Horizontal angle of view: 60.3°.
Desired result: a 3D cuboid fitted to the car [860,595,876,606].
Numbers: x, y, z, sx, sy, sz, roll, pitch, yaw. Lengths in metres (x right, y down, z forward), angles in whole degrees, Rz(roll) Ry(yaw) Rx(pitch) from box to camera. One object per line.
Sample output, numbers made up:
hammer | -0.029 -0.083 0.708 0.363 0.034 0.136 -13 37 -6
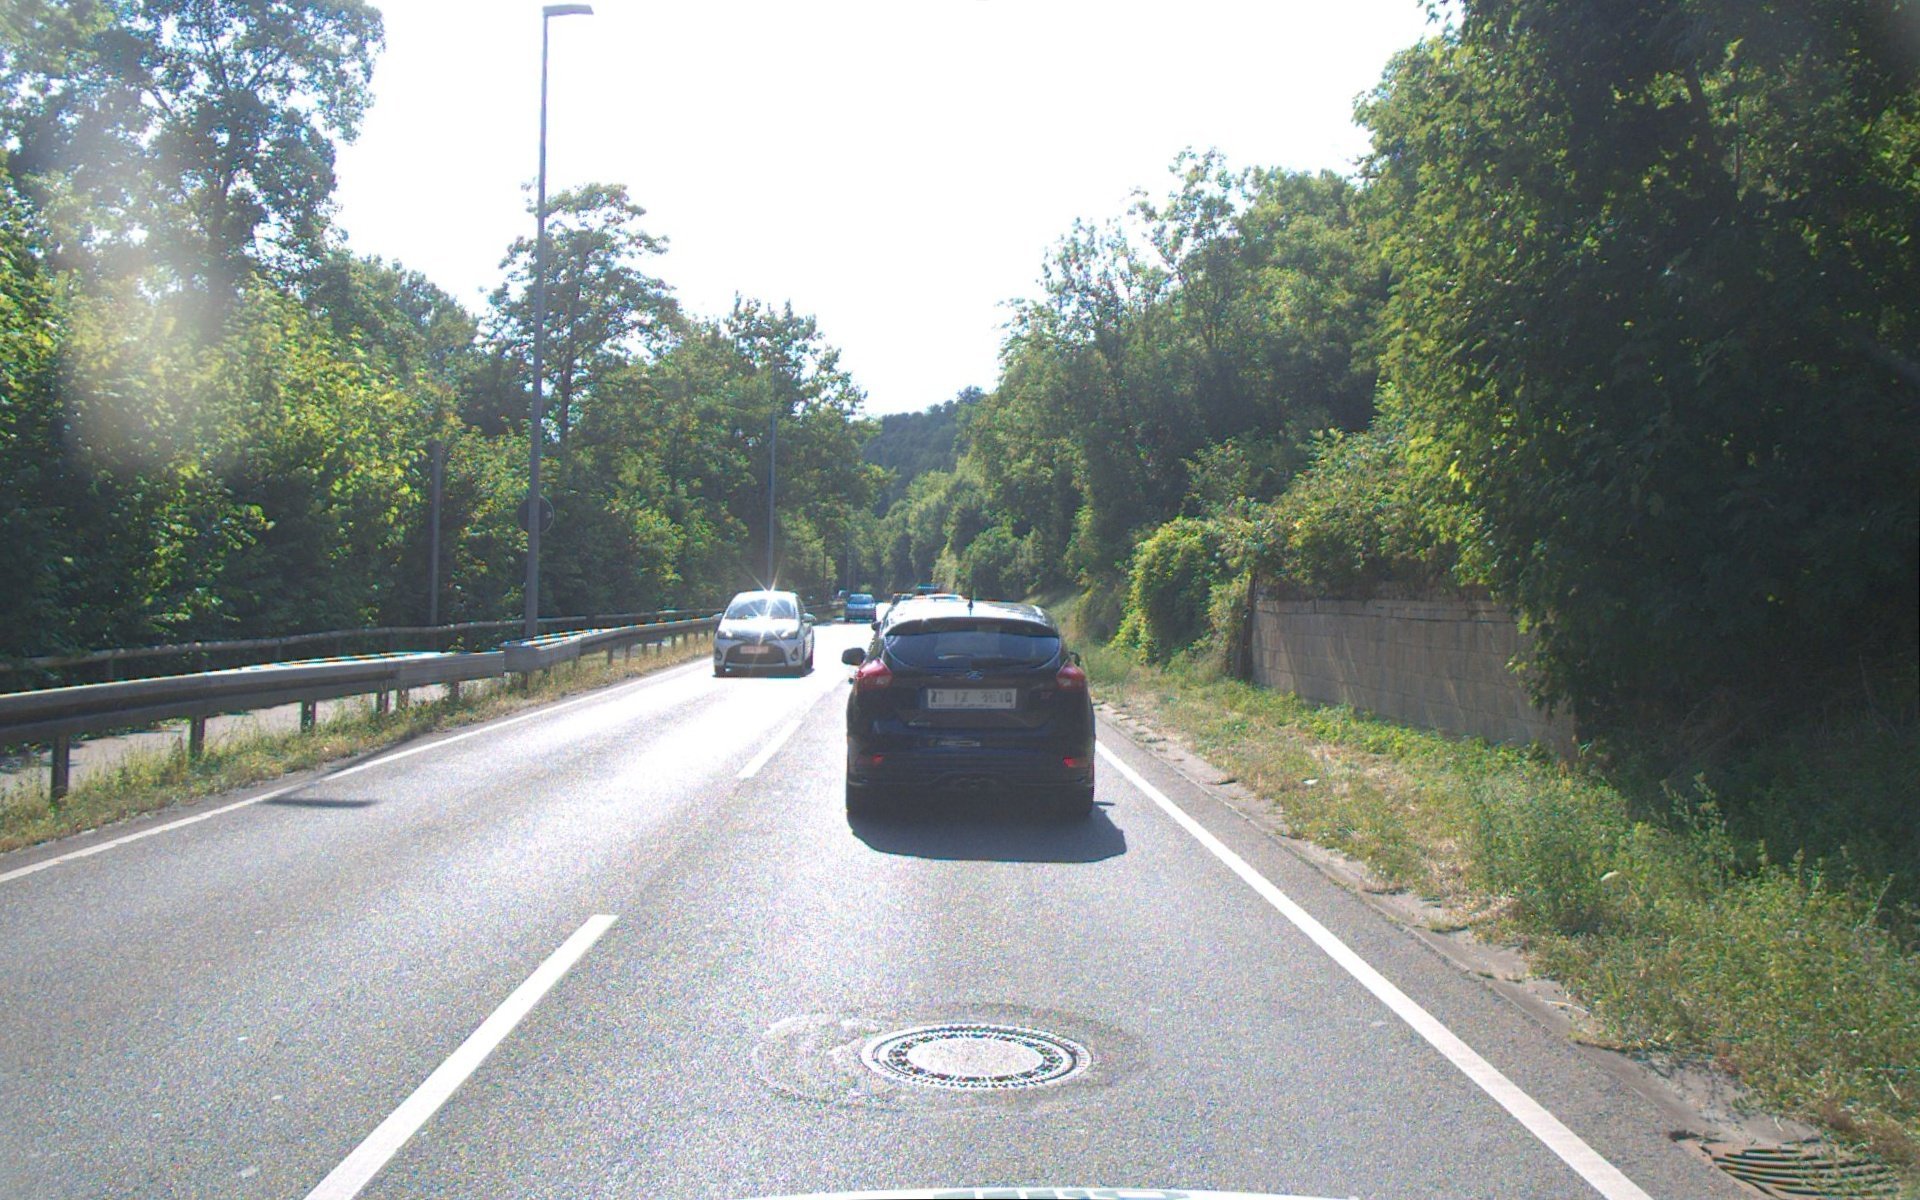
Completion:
car | -13.199 0.031 236.319 1.956 1.545 3.993 0 0 -8

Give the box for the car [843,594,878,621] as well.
car | -5.484 0.402 91.420 1.739 1.412 3.999 0 0 -1

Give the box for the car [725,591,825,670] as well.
car | -3.692 0.575 33.612 1.647 1.489 4.196 1 0 -2

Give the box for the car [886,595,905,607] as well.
car | -7.946 0.127 204.923 1.956 1.545 3.993 0 0 -8

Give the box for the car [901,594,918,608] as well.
car | -5.564 0.111 181.683 1.782 1.545 3.999 0 0 -1

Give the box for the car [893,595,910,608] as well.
car | -6.877 0.146 194.679 1.954 1.545 3.998 0 0 -3

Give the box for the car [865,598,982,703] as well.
car | -0.486 0.705 25.121 1.627 1.443 4.000 0 0 0

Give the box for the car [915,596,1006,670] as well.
car | -0.021 0.635 34.040 1.768 1.416 3.999 0 0 -1

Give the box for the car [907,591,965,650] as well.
car | -0.702 0.550 47.740 1.597 1.624 3.999 0 0 -1

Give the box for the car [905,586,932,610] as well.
car | -3.155 -0.152 125.720 1.826 1.812 3.996 0 0 -4

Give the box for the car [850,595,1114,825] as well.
car | 0.118 0.720 12.781 1.704 1.482 3.999 1 0 -1

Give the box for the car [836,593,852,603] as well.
car | -18.008 -0.324 256.670 1.959 1.545 3.987 0 0 -13
